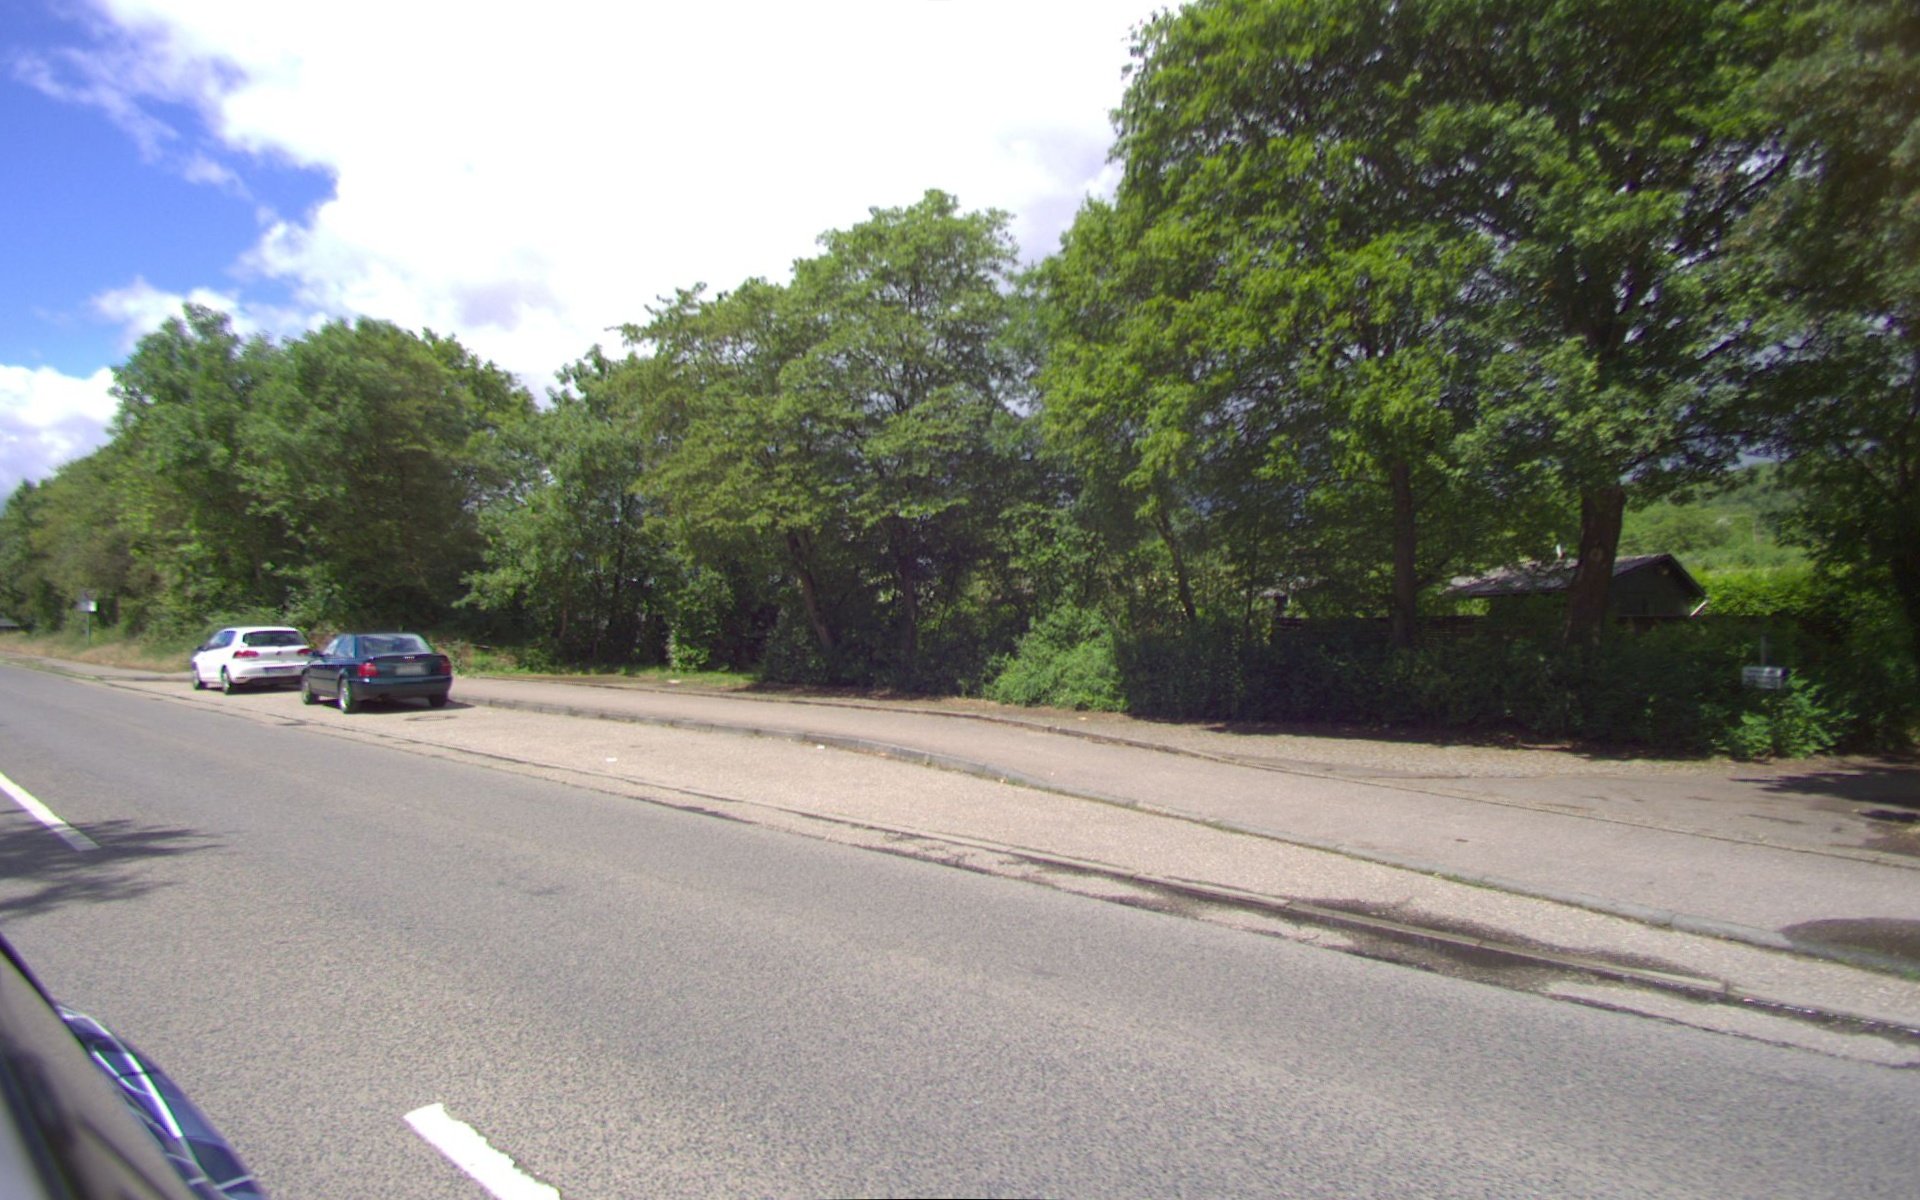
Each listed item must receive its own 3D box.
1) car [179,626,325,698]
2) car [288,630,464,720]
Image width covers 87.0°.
[{"bbox_3d":[-16.647,1.380,23.720,4.242,1.481,1.750,-1,0,40],"label":"car"},{"bbox_3d":[-11.073,1.319,19.067,4.266,1.418,1.748,-1,0,44],"label":"car"}]
